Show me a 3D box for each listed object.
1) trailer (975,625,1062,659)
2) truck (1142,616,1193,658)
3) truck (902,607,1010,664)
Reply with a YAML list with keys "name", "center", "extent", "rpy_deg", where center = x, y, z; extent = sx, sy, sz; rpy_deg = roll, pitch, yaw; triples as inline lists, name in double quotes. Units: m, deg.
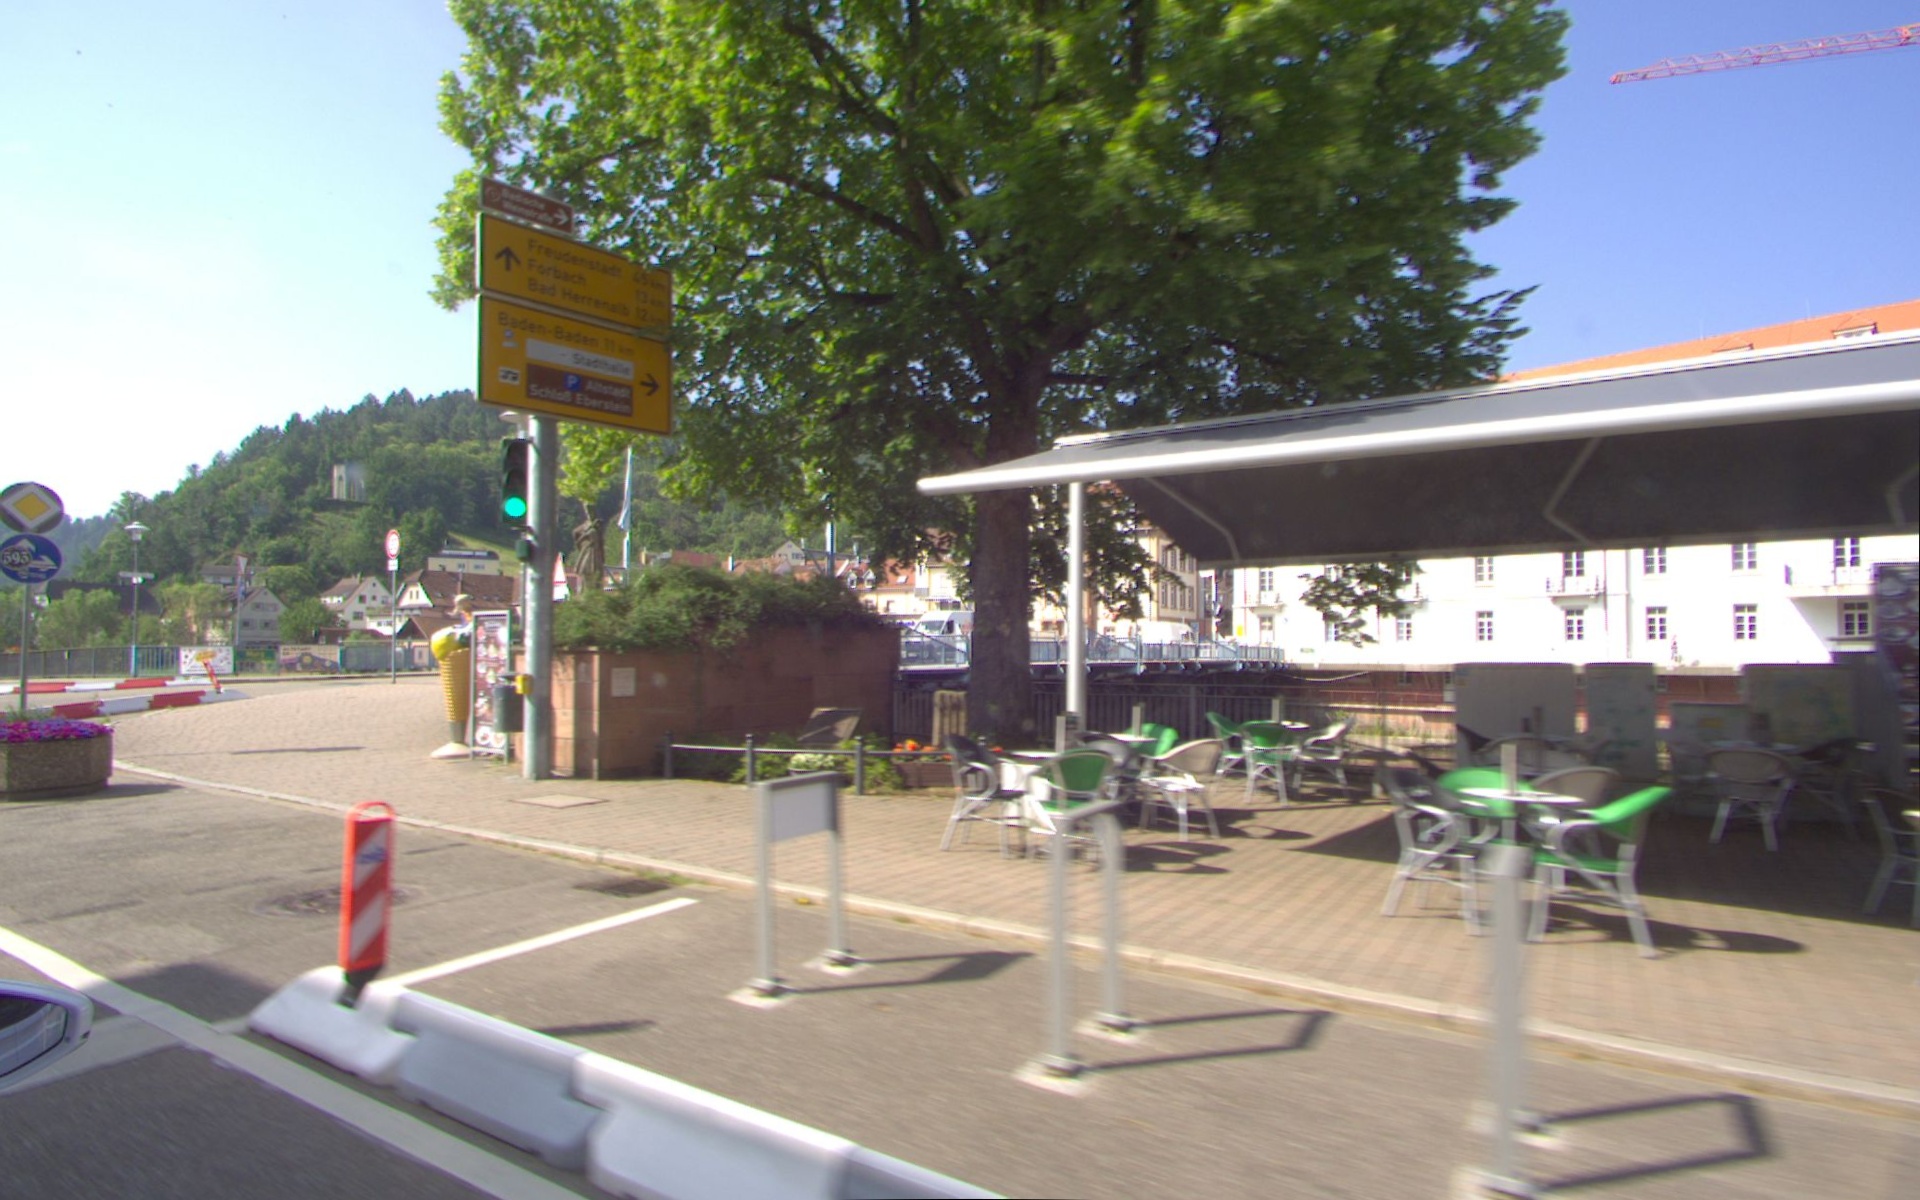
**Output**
- name: "trailer"
  center: [3.382, 2.366, 56.751]
  extent: [2.582, 1.850, 5.609]
  rpy_deg: [-2, -3, 32]
- name: "truck"
  center: [13.622, 2.435, 65.523]
  extent: [1.842, 2.617, 4.239]
  rpy_deg: [0, -3, 34]
- name: "truck"
  center: [-0.072, 1.785, 51.404]
  extent: [2.081, 2.733, 7.098]
  rpy_deg: [-2, -1, 31]
